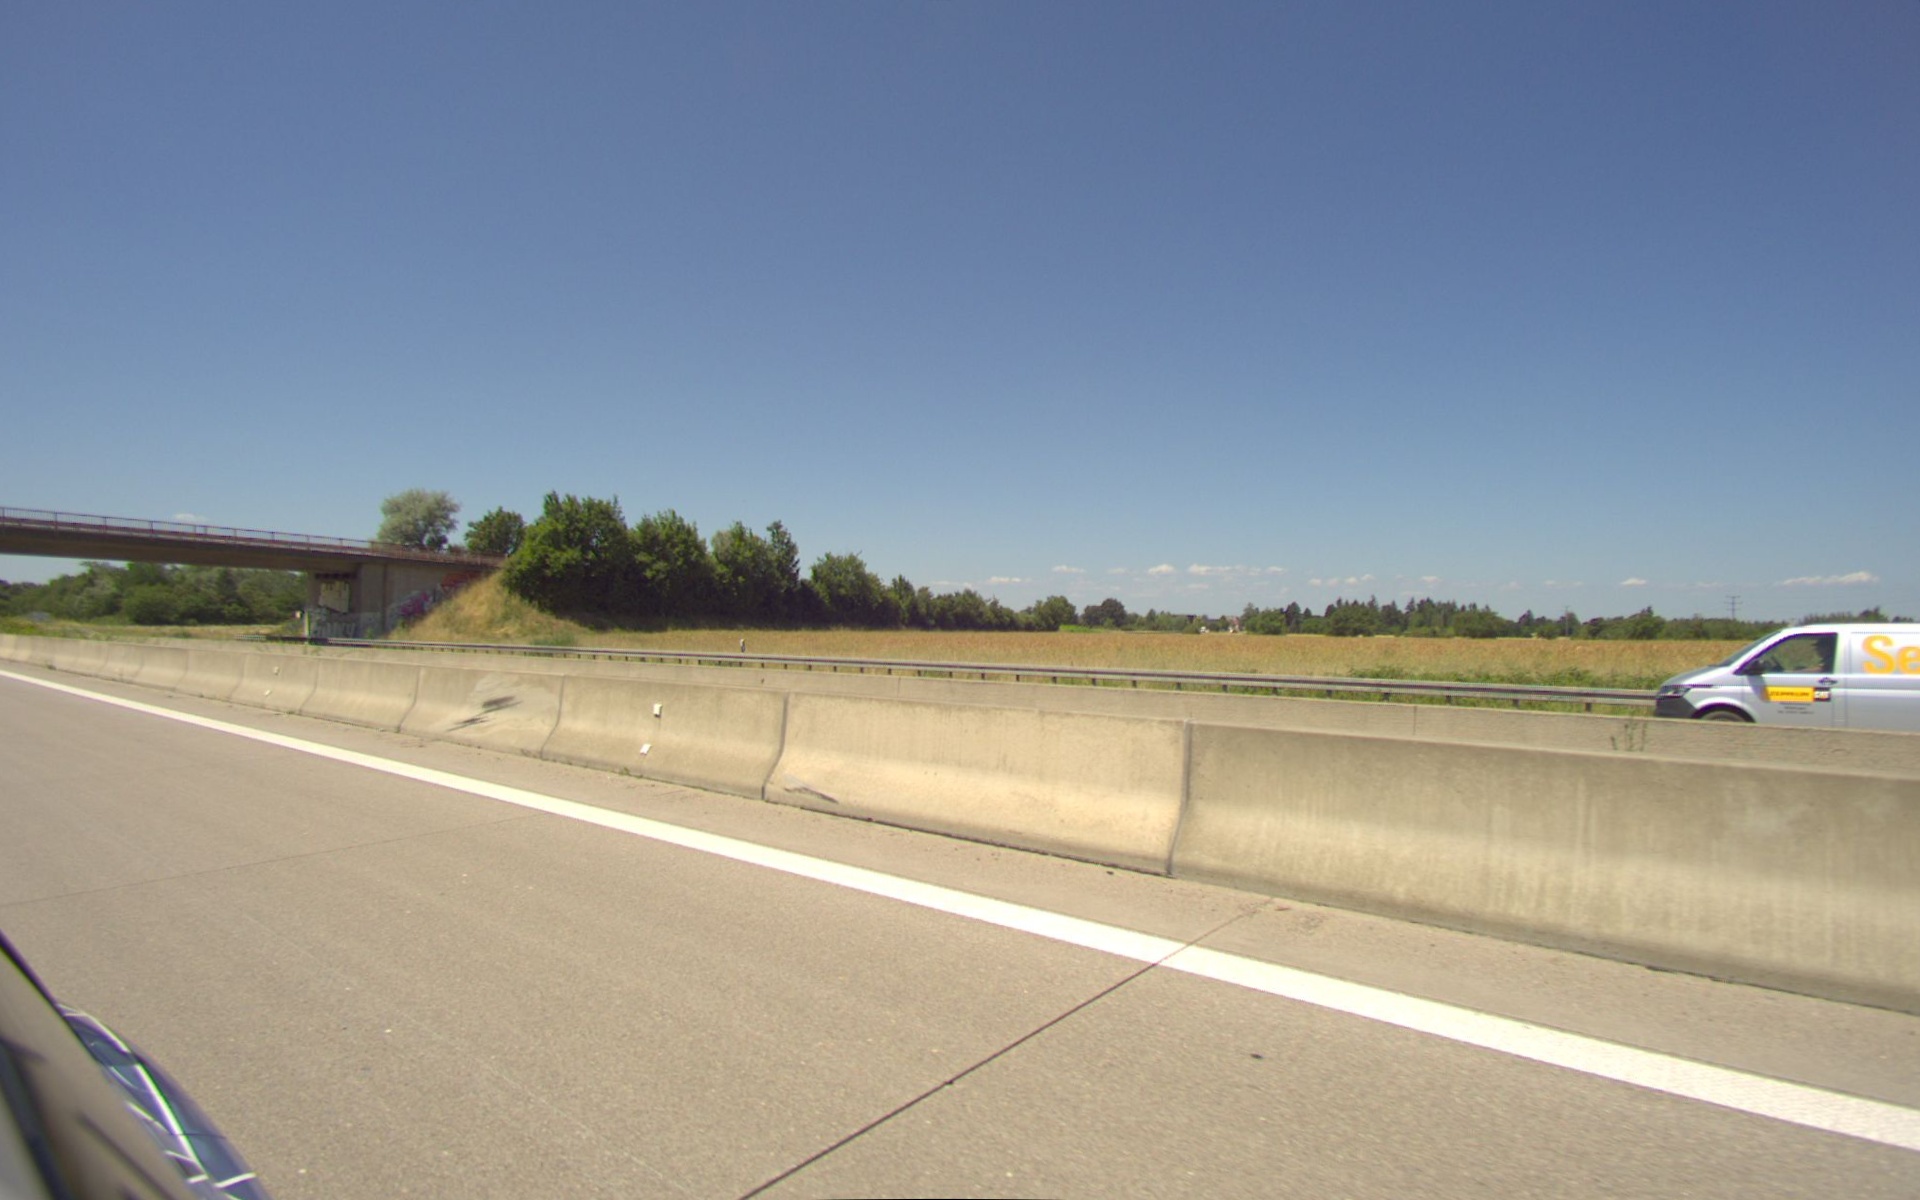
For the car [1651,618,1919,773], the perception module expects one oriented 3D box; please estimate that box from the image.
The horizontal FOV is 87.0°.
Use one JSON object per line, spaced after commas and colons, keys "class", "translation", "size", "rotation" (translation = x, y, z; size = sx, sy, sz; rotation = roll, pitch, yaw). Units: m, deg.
{"class": "car", "translation": [12.851, 1.242, 13.739], "size": [5.561, 1.959, 1.846], "rotation": [-1, 0, 40]}
